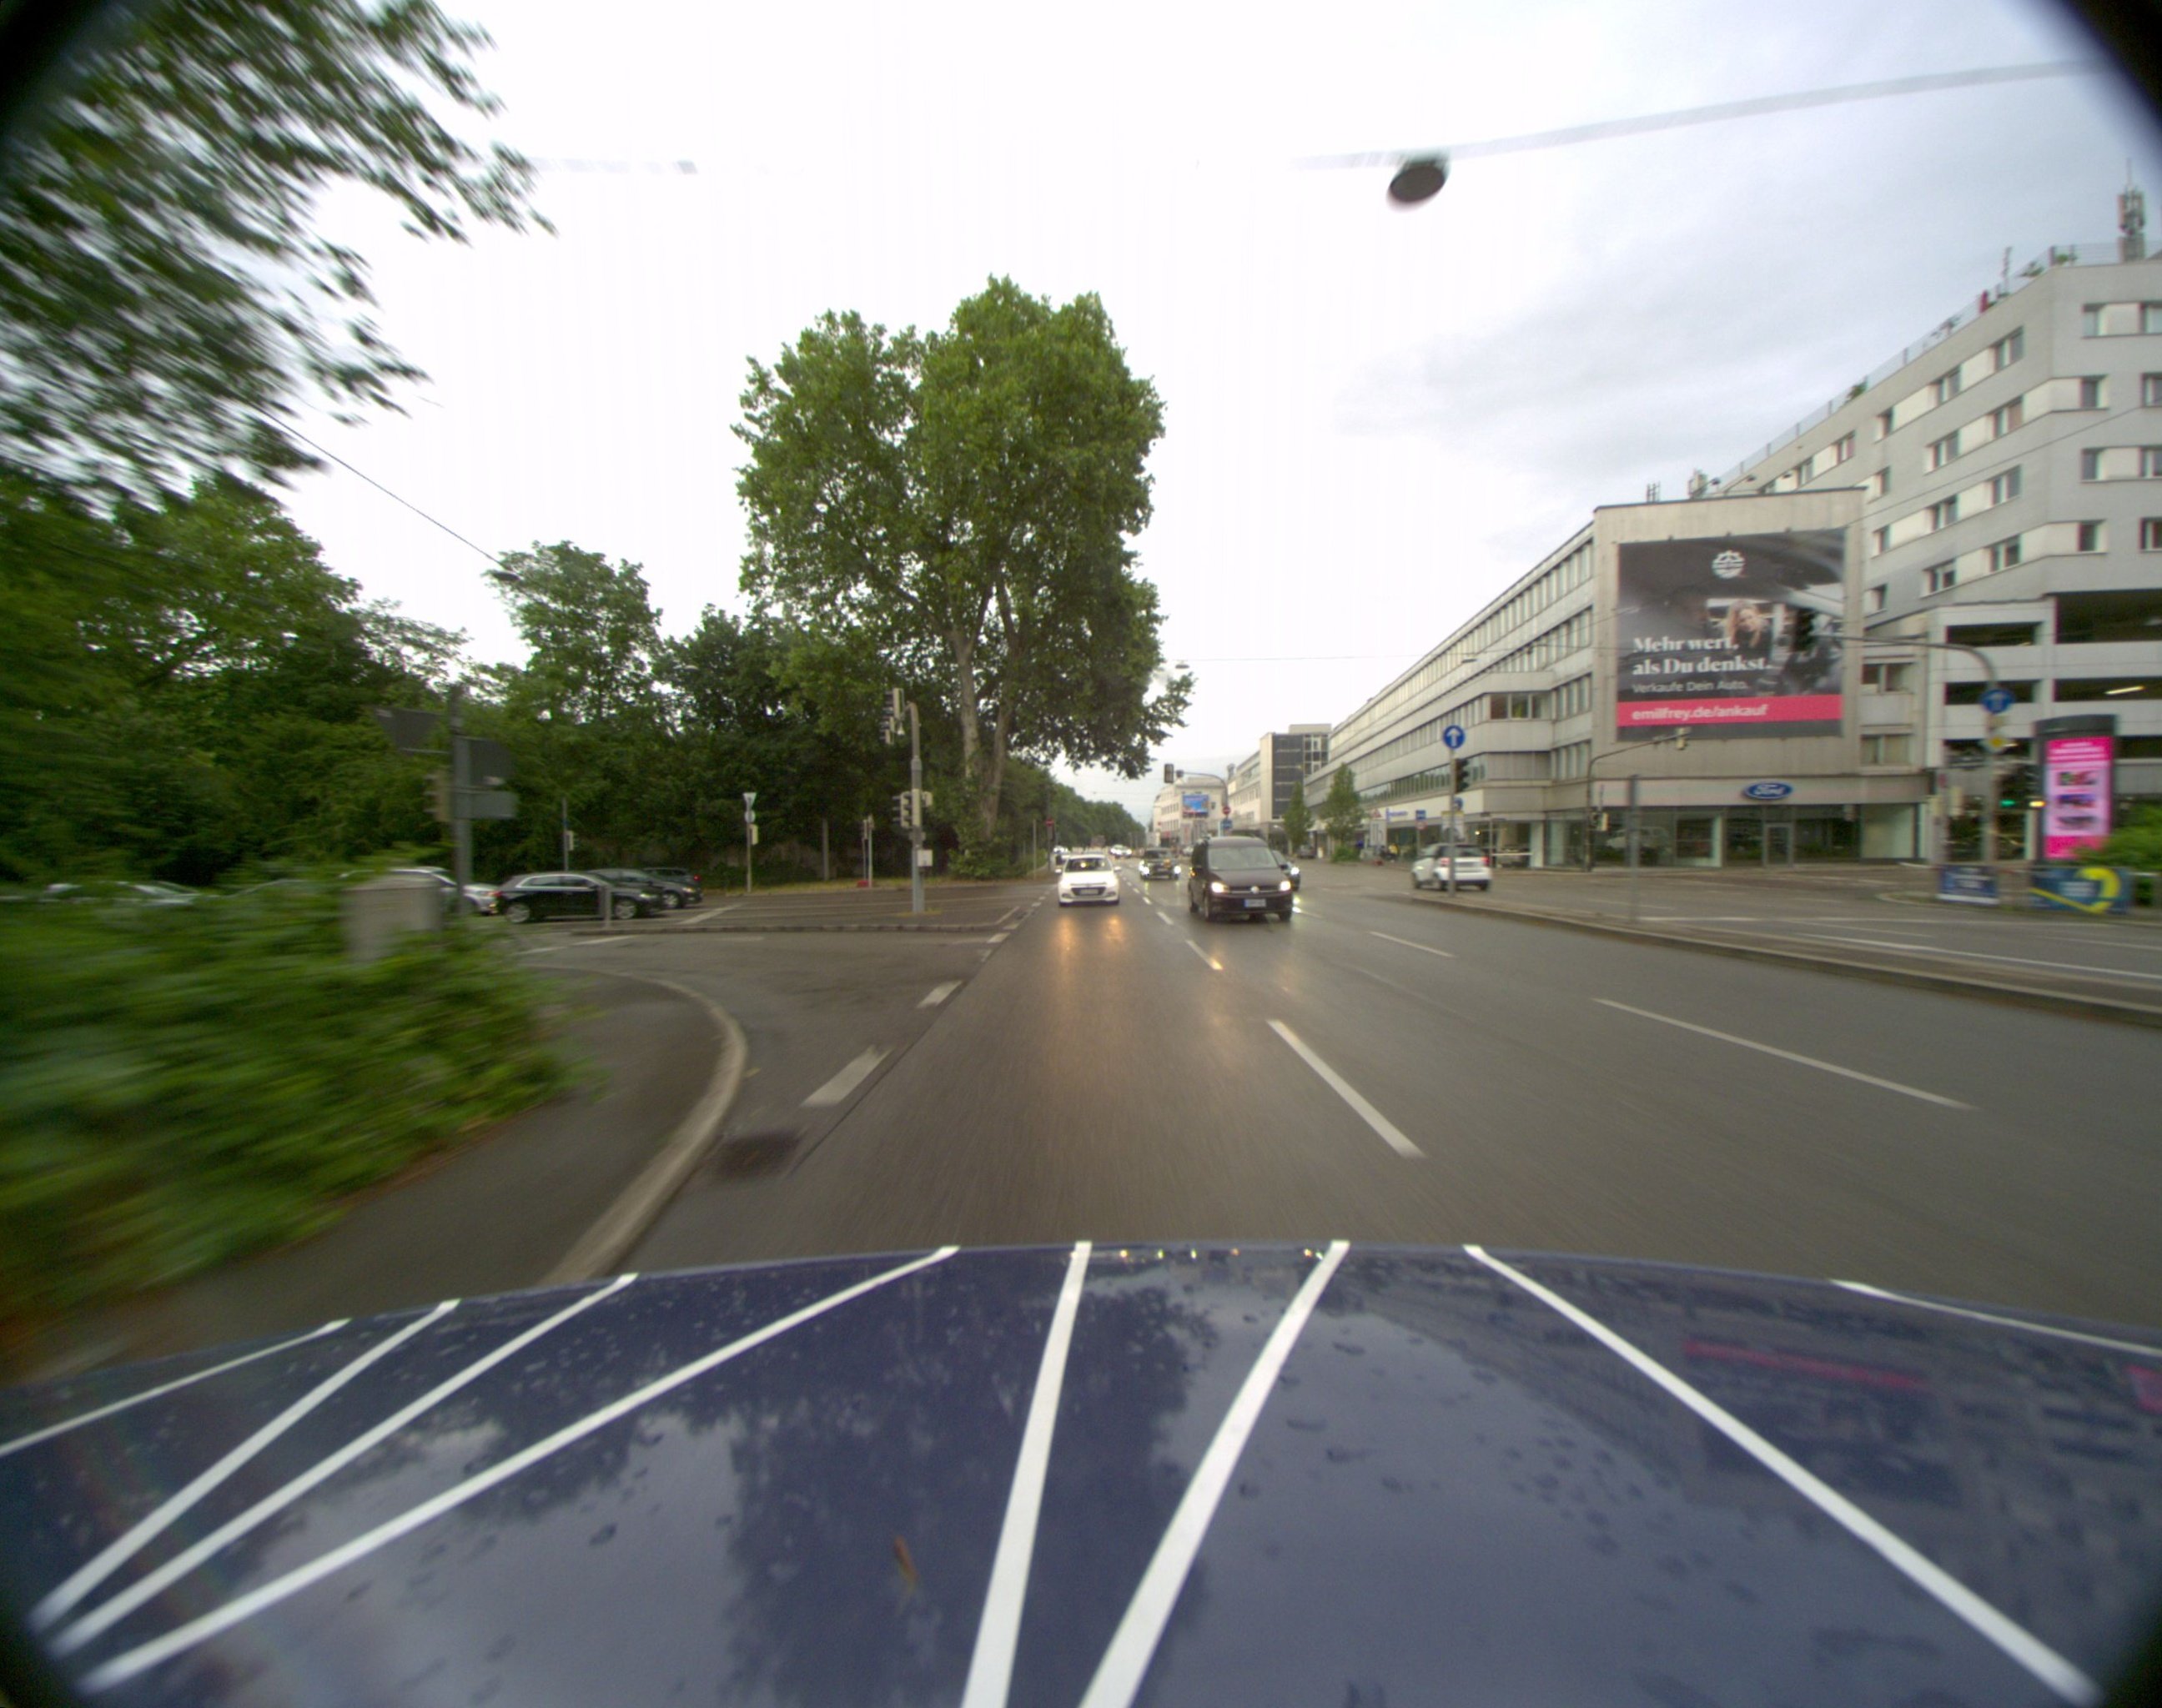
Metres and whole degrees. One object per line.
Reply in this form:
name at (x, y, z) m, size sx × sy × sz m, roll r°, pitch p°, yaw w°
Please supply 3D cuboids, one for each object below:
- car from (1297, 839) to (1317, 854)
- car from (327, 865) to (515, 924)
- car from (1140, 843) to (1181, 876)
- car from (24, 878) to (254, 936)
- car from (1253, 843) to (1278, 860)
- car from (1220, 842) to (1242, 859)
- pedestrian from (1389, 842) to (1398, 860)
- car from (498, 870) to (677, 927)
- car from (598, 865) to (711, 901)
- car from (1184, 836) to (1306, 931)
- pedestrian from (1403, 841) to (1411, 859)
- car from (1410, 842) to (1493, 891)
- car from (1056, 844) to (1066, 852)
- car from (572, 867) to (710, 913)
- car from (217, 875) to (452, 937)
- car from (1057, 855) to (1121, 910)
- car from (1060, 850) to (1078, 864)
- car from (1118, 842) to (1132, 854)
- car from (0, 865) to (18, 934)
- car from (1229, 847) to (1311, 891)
car at (28.858, -1.010, 97.138) m, size 1.883 × 1.856 × 4.003 m, roll -1°, pitch 1°, yaw 10°
car at (-20.559, 1.216, 23.878) m, size 4.057 × 1.594 × 1.776 m, roll -1°, pitch 1°, yaw -18°
car at (4.102, 0.268, 39.578) m, size 1.731 × 1.604 × 4.000 m, roll -1°, pitch 1°, yaw 1°
car at (-26.765, 1.463, 21.768) m, size 3.698 × 1.371 × 1.776 m, roll -1°, pitch 1°, yaw -22°
car at (17.242, -0.247, 71.043) m, size 1.684 × 1.431 × 4.001 m, roll -1°, pitch 1°, yaw 5°
car at (13.645, -0.347, 69.220) m, size 1.684 × 1.431 × 4.002 m, roll -1°, pitch 1°, yaw 8°
pedestrian at (26.599, -0.283, 64.608) m, size 0.575 × 1.522 × 0.454 m, roll -1°, pitch 1°, yaw 7°
car at (-14.179, 1.231, 22.112) m, size 4.058 × 1.395 × 1.776 m, roll -1°, pitch 1°, yaw -21°
car at (-19.682, 1.293, 35.151) m, size 4.234 × 1.395 × 1.774 m, roll -2°, pitch 1°, yaw -40°
car at (3.462, 0.574, 16.807) m, size 1.842 × 1.780 × 4.000 m, roll -2°, pitch 0°, yaw 1°
pedestrian at (27.645, -0.317, 64.461) m, size 0.437 × 1.522 × 0.513 m, roll -1°, pitch 1°, yaw 7°
car at (11.986, 0.378, 24.751) m, size 1.524 × 1.469 × 2.771 m, roll -1°, pitch 1°, yaw 4°
car at (-4.343, -1.332, 164.191) m, size 1.878 × 1.762 × 3.999 m, roll -2°, pitch 1°, yaw 2°
car at (-14.866, 1.178, 25.890) m, size 3.696 × 1.371 × 1.776 m, roll -1°, pitch 1°, yaw -17°
car at (-19.980, 1.343, 20.574) m, size 4.133 × 1.395 × 1.776 m, roll -1°, pitch 1°, yaw -20°
car at (0.250, 0.780, 22.844) m, size 1.731 × 1.431 × 4.000 m, roll -1°, pitch 1°, yaw 1°
car at (-1.388, 0.315, 88.119) m, size 1.730 × 1.502 × 3.732 m, roll -1°, pitch 1°, yaw 4°
car at (5.902, -0.855, 102.345) m, size 1.730 × 1.502 × 3.732 m, roll -1°, pitch 1°, yaw 6°
car at (-32.146, 1.322, 19.906) m, size 4.610 × 1.918 × 1.953 m, roll -1°, pitch 1°, yaw -21°
car at (6.720, 0.528, 27.465) m, size 1.670 × 1.406 × 4.539 m, roll -1°, pitch -1°, yaw -2°
